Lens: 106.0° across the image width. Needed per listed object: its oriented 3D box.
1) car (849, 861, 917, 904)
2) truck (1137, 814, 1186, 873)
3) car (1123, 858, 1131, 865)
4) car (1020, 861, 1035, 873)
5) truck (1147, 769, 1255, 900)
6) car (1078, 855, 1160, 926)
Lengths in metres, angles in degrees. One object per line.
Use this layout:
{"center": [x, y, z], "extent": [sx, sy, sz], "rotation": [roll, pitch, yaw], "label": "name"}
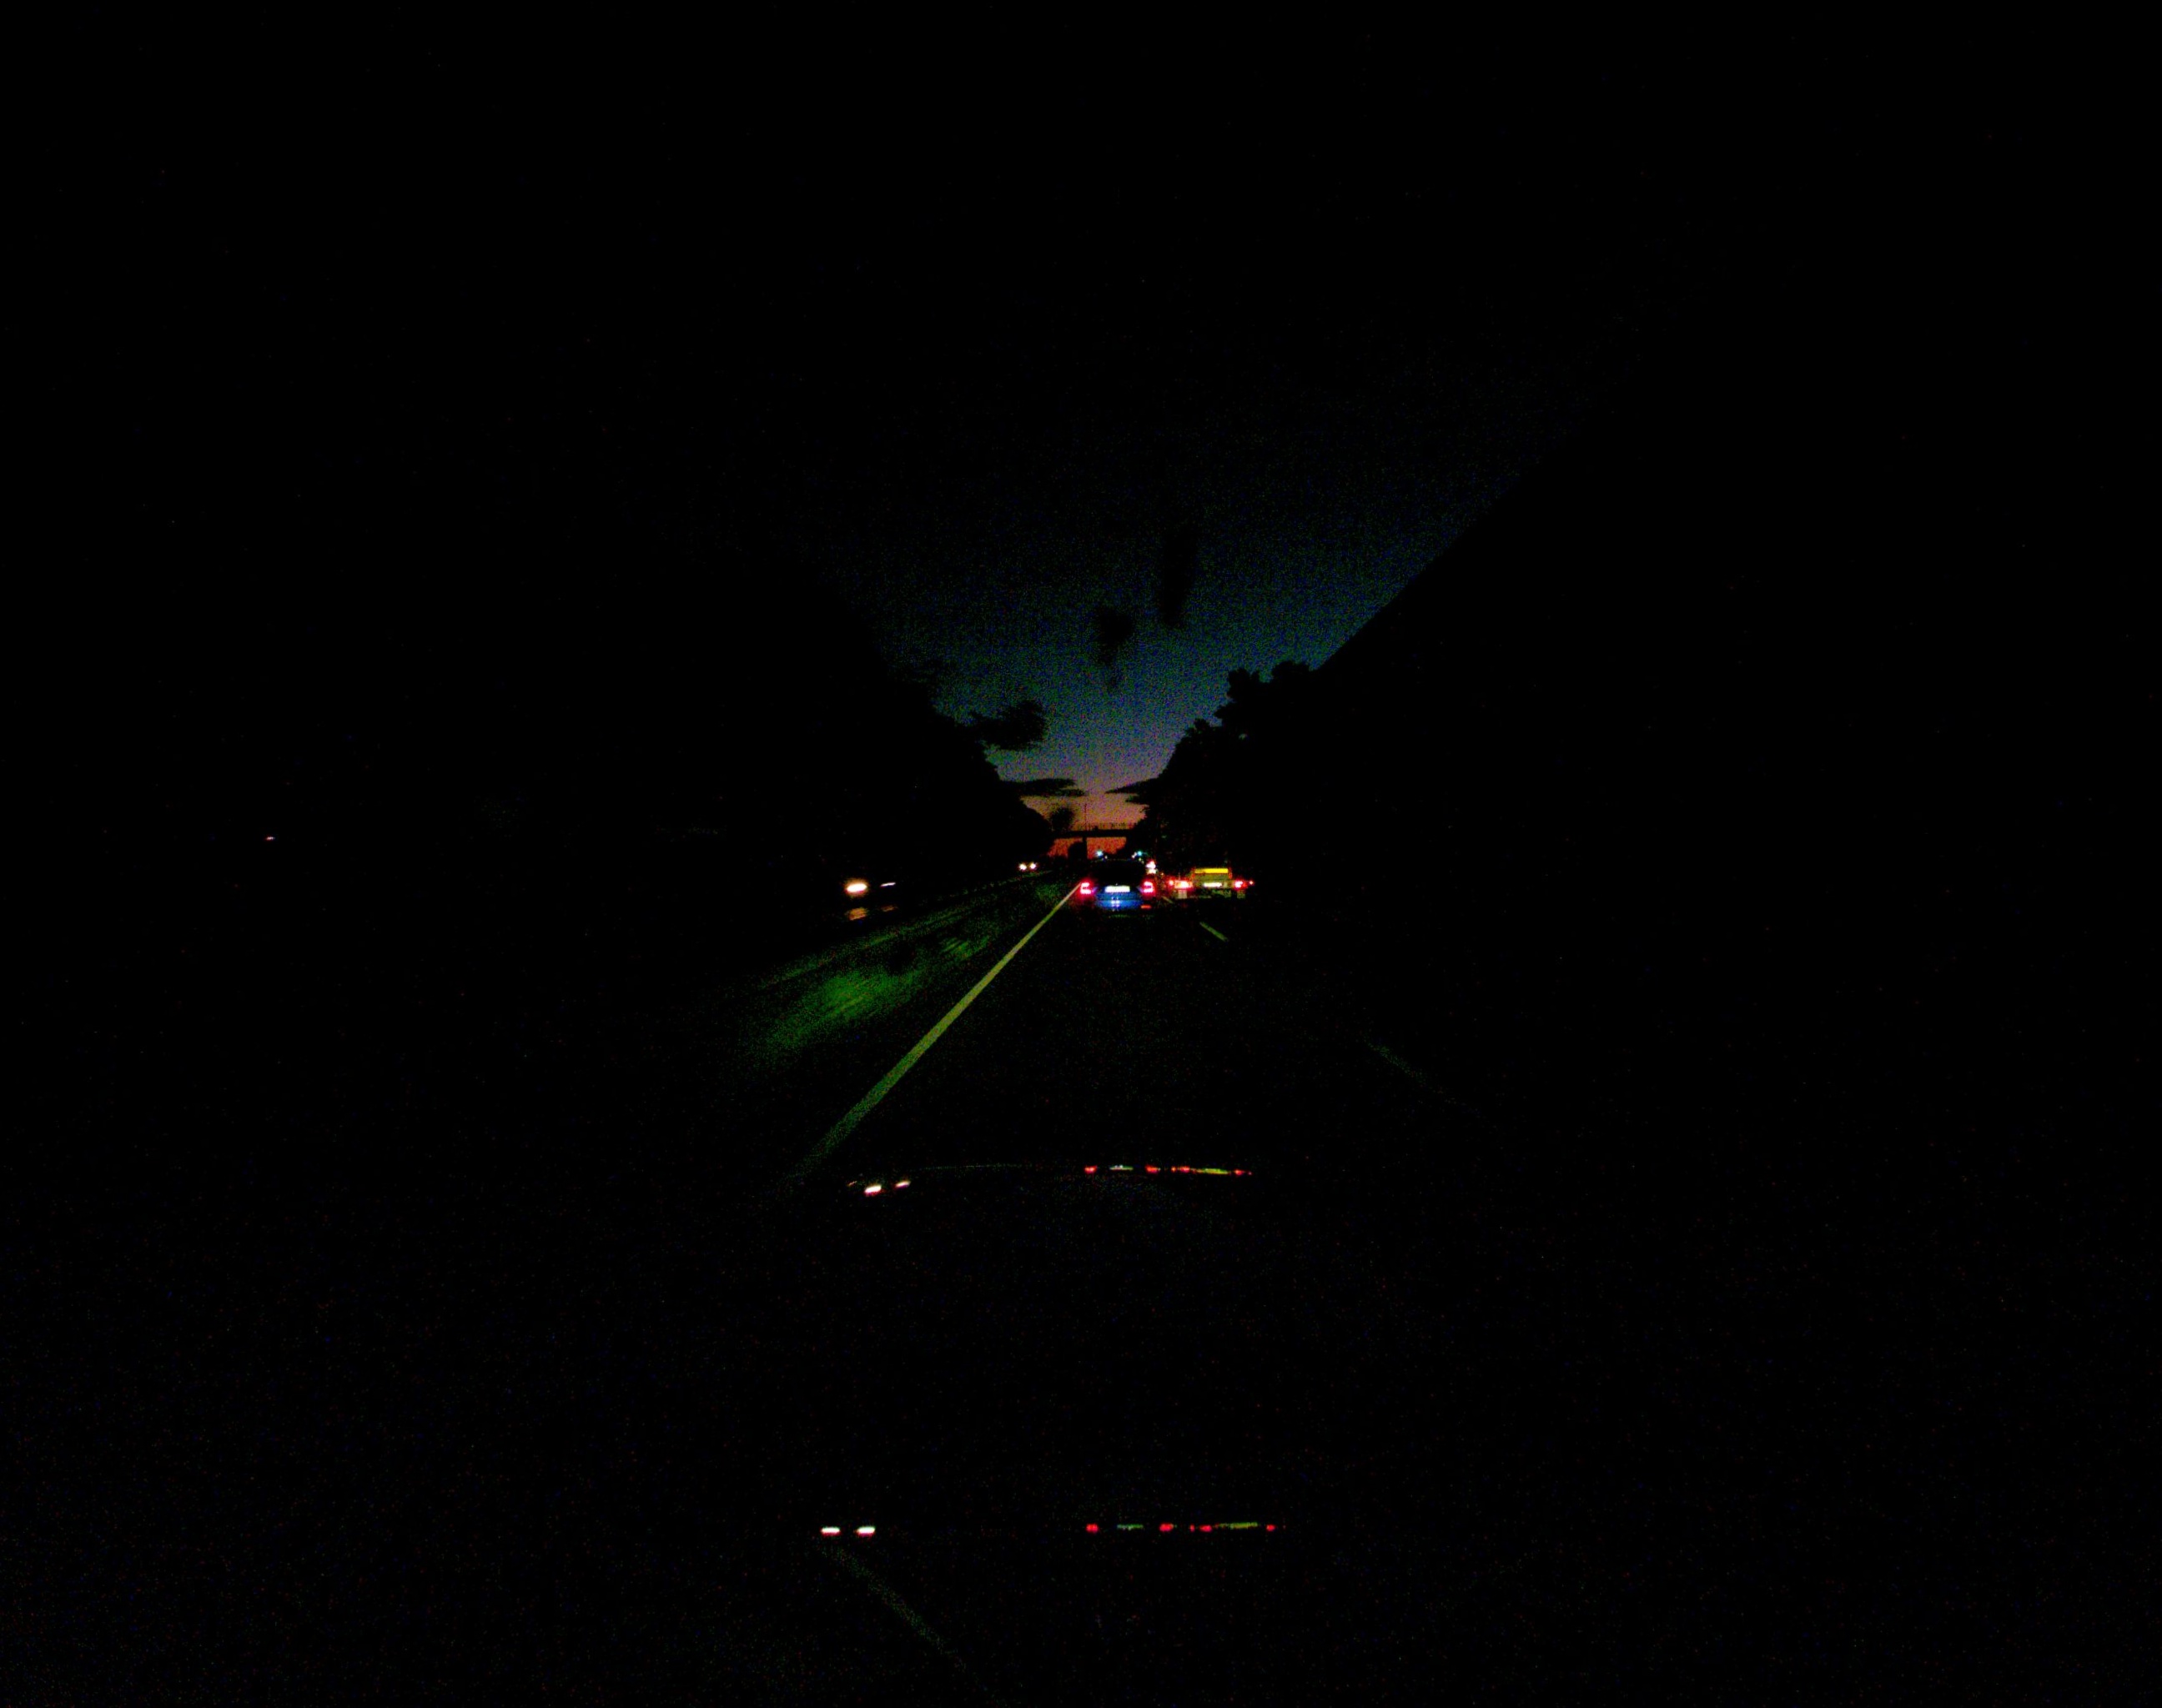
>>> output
{"center": [-8.066, 1.117, 33.559], "extent": [1.676, 1.587, 4.168], "rotation": [-1, 0, 2], "label": "car"}
{"center": [6.030, -0.661, 63.116], "extent": [2.872, 4.106, 12.687], "rotation": [-1, -1, 2], "label": "truck"}
{"center": [10.221, 1.700, 182.004], "extent": [1.689, 1.452, 3.915], "rotation": [-1, -1, 1], "label": "car"}
{"center": [-7.002, 1.661, 106.707], "extent": [1.611, 1.507, 3.870], "rotation": [-1, -1, 2], "label": "car"}
{"center": [4.318, -0.549, 32.327], "extent": [2.677, 4.106, 13.145], "rotation": [-1, -1, 2], "label": "truck"}
{"center": [0.848, 0.785, 18.974], "extent": [1.689, 1.452, 3.915], "rotation": [-1, -1, 1], "label": "car"}
